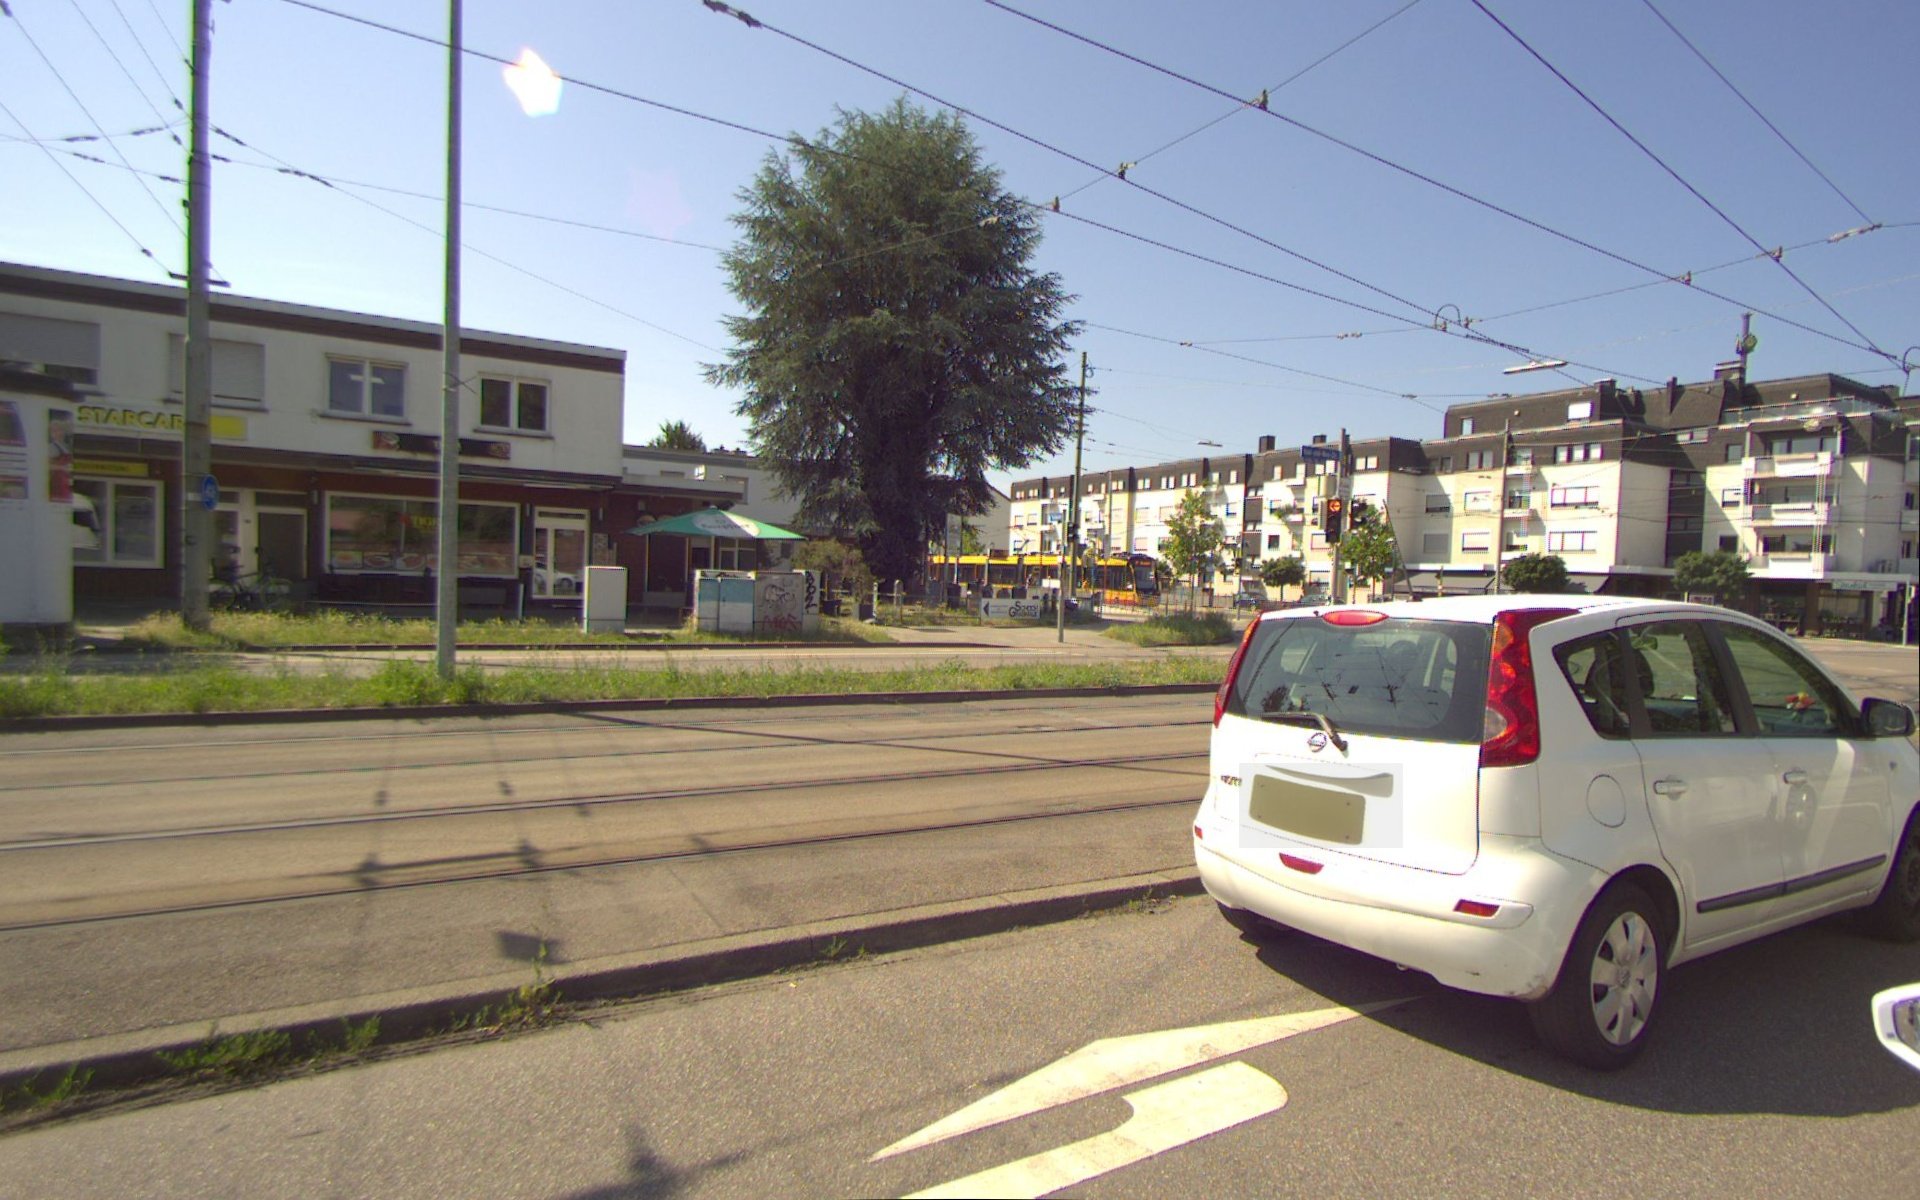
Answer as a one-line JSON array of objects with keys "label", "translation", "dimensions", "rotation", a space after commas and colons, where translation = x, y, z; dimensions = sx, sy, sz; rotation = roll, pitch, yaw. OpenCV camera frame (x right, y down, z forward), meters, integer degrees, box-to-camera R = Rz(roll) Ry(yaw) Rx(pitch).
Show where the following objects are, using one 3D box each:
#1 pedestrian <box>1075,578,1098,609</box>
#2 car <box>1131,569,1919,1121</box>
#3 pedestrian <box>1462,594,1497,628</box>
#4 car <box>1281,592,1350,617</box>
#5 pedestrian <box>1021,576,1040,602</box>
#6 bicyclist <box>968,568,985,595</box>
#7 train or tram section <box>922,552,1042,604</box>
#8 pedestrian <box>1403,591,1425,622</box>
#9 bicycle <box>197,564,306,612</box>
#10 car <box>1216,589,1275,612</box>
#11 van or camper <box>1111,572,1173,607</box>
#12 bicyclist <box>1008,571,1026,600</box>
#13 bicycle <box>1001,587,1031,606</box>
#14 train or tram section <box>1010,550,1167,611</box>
[{"label": "pedestrian", "translation": [7.909, -0.415, 62.817], "dimensions": [0.886, 1.862, 1.192], "rotation": [1, 1, -30]}, {"label": "car", "translation": [2.928, 0.736, 4.660], "dimensions": [4.019, 1.582, 1.757], "rotation": [1, 0, -30]}, {"label": "pedestrian", "translation": [29.874, 0.632, 57.798], "dimensions": [1.410, 1.861, 1.123], "rotation": [2, 1, 9]}, {"label": "car", "translation": [23.905, 0.282, 67.627], "dimensions": [1.807, 1.520, 4.151], "rotation": [1, 1, -30]}, {"label": "pedestrian", "translation": [4.926, -0.772, 69.755], "dimensions": [0.804, 1.703, 1.085], "rotation": [1, 1, -30]}, {"label": "bicyclist", "translation": [0.978, -1.086, 58.969], "dimensions": [0.626, 1.596, 0.758], "rotation": [1, 2, -36]}, {"label": "train or tram section", "translation": [1.452, -1.846, 79.898], "dimensions": [2.736, 3.707, 13.795], "rotation": [1, 1, -30]}, {"label": "pedestrian", "translation": [26.029, 0.369, 57.607], "dimensions": [0.800, 1.783, 0.759], "rotation": [1, 1, -24]}, {"label": "bicycle", "translation": [-15.673, -0.269, 22.272], "dimensions": [1.889, 0.996, 0.754], "rotation": [1, 1, -30]}, {"label": "car", "translation": [20.669, 0.017, 72.888], "dimensions": [1.807, 1.520, 3.967], "rotation": [1, 1, -30]}, {"label": "van or camper", "translation": [14.959, -0.876, 82.858], "dimensions": [2.349, 2.660, 4.850], "rotation": [1, 1, -31]}, {"label": "bicyclist", "translation": [3.174, -0.797, 55.877], "dimensions": [0.626, 1.579, 0.758], "rotation": [2, 0, -36]}, {"label": "bicycle", "translation": [3.111, -0.213, 55.955], "dimensions": [0.530, 0.959, 2.116], "rotation": [1, 1, -33]}, {"label": "train or tram section", "translation": [8.263, -1.394, 67.880], "dimensions": [2.736, 3.707, 13.795], "rotation": [1, 1, -30]}]
